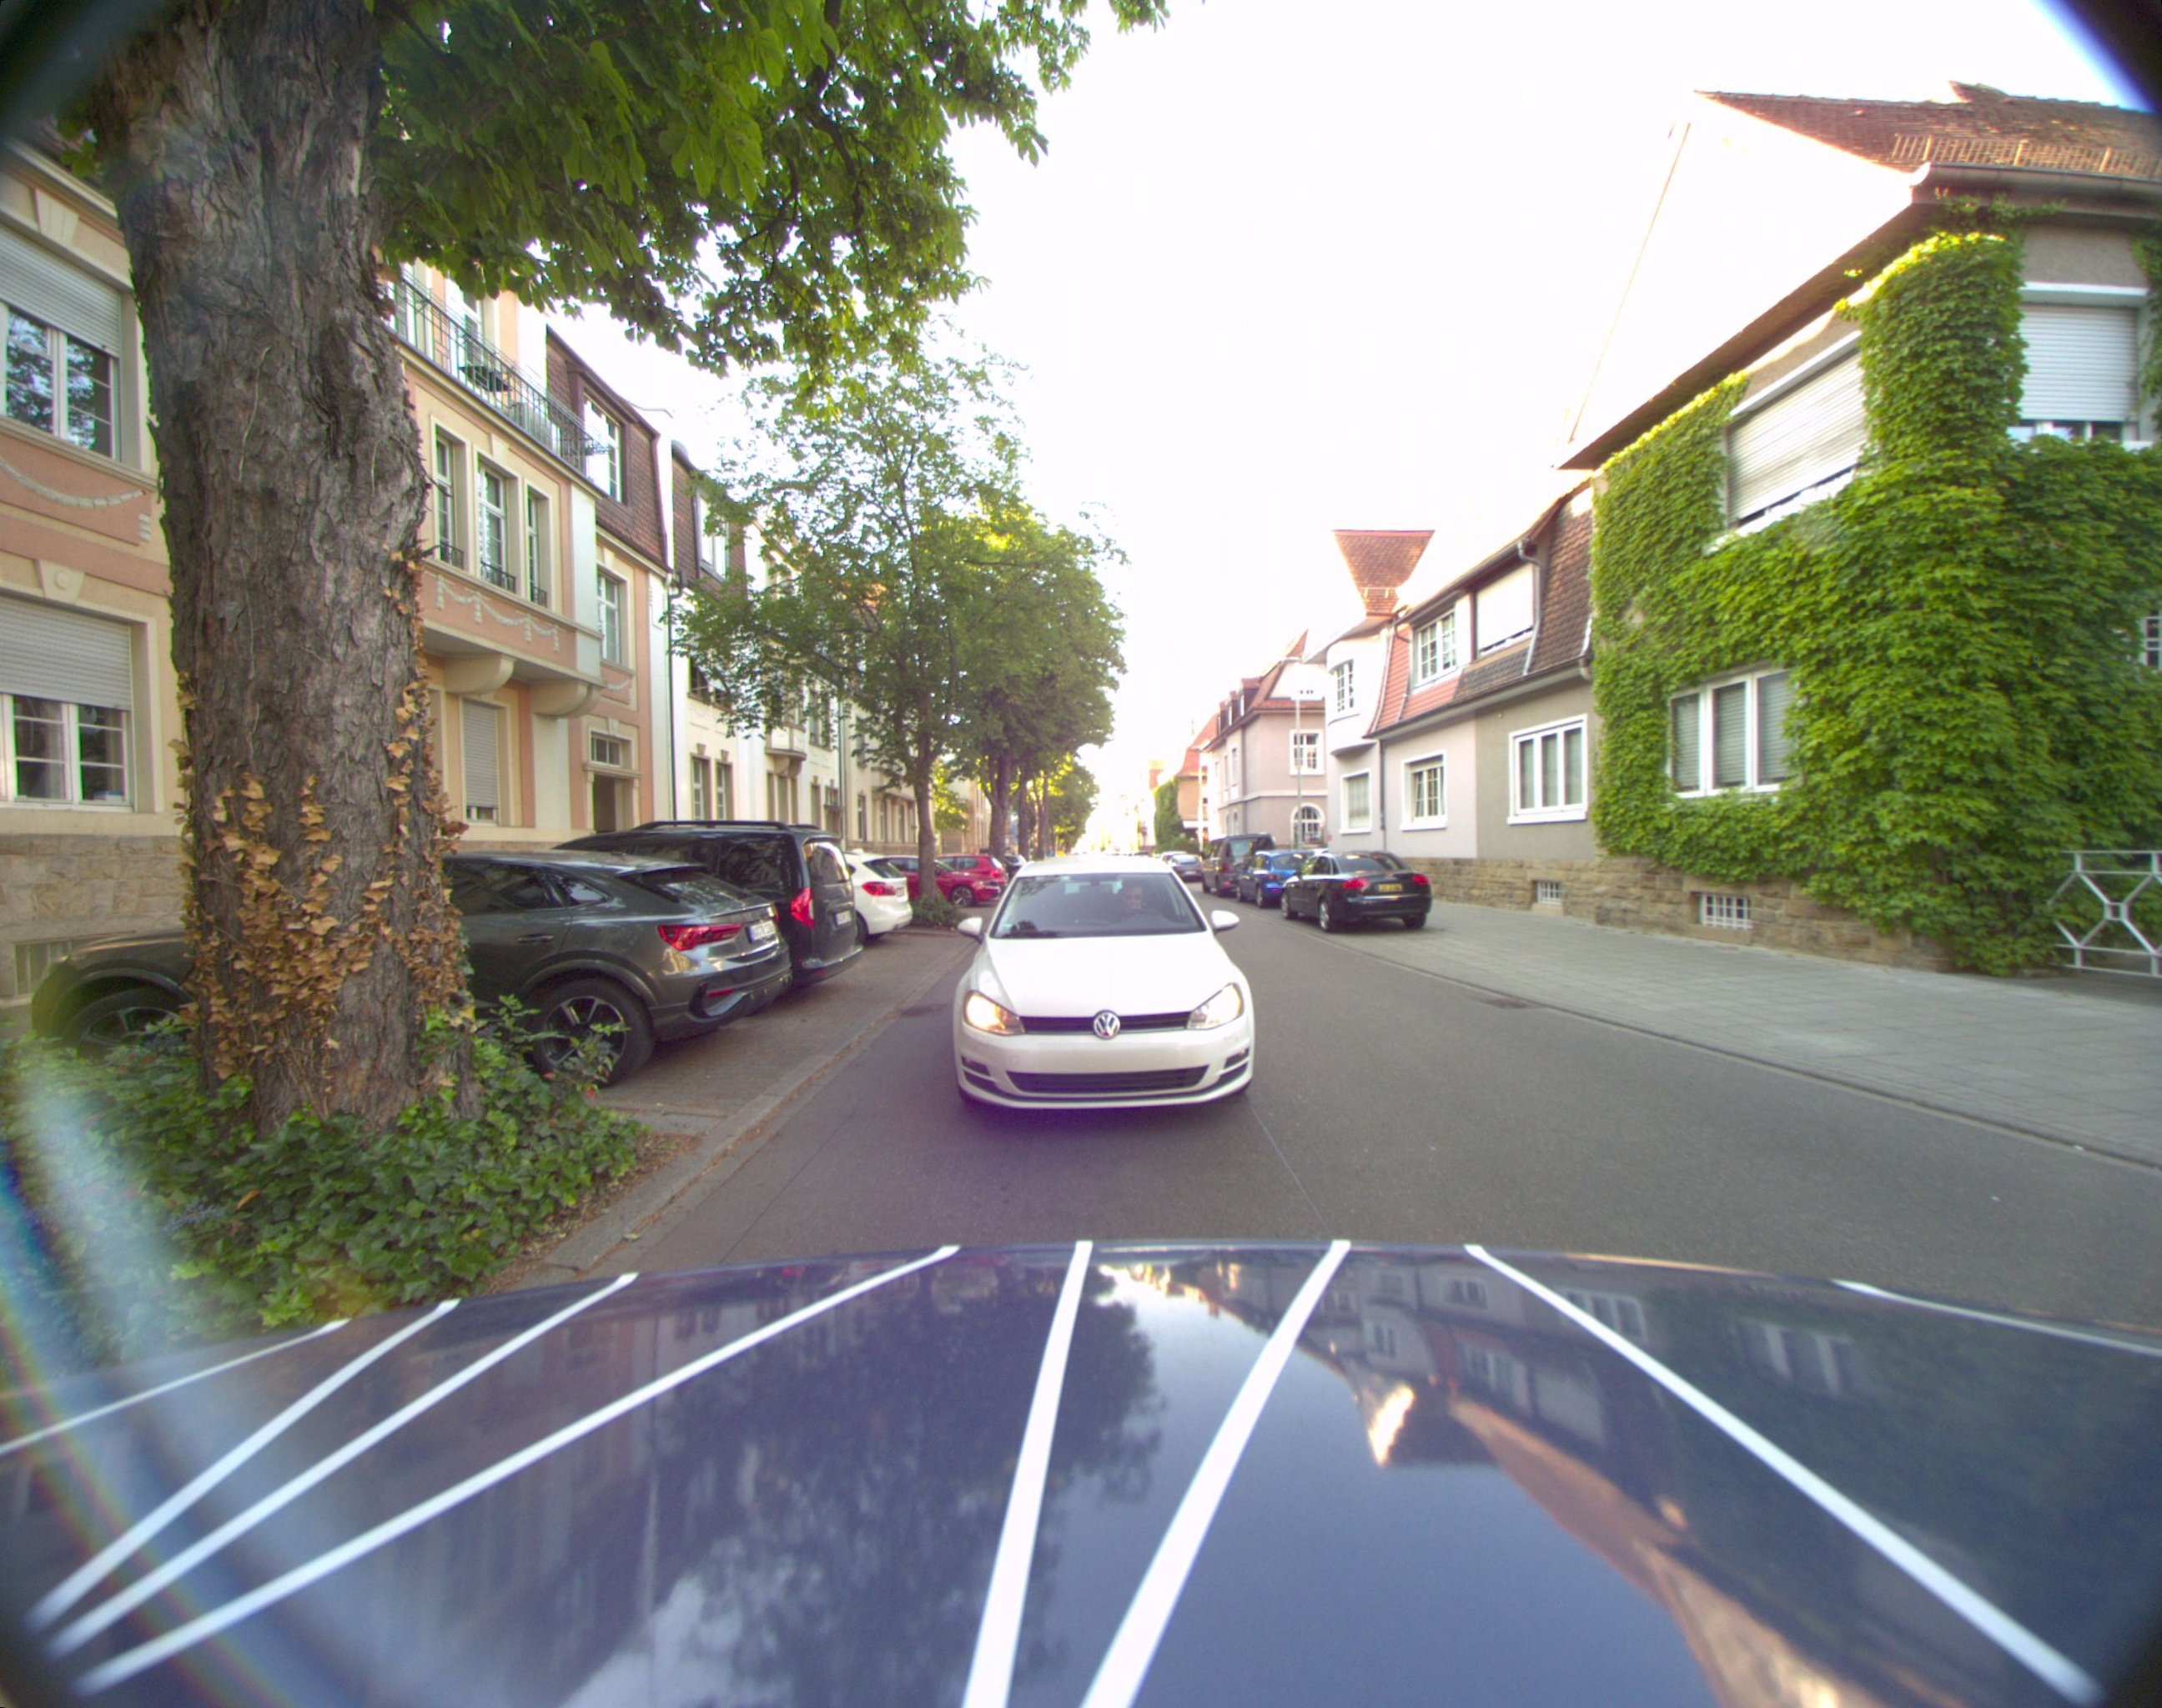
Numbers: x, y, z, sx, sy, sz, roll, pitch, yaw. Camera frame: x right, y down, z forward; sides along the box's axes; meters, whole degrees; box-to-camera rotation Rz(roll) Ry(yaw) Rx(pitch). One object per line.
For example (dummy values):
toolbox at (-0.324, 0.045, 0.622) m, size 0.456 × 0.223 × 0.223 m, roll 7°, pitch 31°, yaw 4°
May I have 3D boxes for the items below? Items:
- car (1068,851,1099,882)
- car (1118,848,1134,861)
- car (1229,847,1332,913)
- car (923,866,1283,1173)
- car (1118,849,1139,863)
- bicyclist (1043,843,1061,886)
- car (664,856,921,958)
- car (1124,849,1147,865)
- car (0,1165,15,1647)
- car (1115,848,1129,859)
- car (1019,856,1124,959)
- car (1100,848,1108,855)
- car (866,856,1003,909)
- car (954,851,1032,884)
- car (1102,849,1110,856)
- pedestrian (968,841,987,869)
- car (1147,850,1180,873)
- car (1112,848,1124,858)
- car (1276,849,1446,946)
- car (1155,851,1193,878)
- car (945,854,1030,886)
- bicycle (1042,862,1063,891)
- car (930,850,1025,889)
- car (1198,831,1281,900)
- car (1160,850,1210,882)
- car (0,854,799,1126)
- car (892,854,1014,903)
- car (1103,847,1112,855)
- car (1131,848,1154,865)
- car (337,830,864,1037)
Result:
car at (0.155, 0.639, 40.499) m, size 1.560 × 1.546 × 3.738 m, roll 1°, pitch 0°, yaw 1°
car at (5.363, 0.020, 91.299) m, size 1.643 × 1.461 × 3.689 m, roll -3°, pitch 0°, yaw -1°
car at (5.227, 0.617, 20.429) m, size 1.611 × 1.455 × 4.023 m, roll -4°, pitch 1°, yaw 0°
car at (0.077, 0.880, 5.913) m, size 1.799 × 1.420 × 4.023 m, roll -2°, pitch 0°, yaw -1°
car at (5.066, 0.208, 80.904) m, size 1.643 × 1.461 × 3.688 m, roll -3°, pitch 0°, yaw -4°
bicyclist at (-1.207, 0.427, 32.130) m, size 0.648 × 1.765 × 0.830 m, roll -2°, pitch 1°, yaw 1°
car at (-4.562, 0.823, 12.395) m, size 3.623 × 1.541 × 1.537 m, roll 1°, pitch 1°, yaw -4°
car at (5.402, 0.260, 75.505) m, size 1.643 × 1.461 × 3.688 m, roll -3°, pitch 0°, yaw -4°
car at (-4.663, 0.789, 0.523) m, size 4.835 × 1.814 × 1.880 m, roll 1°, pitch 1°, yaw -4°
car at (5.456, -0.083, 101.263) m, size 1.643 × 1.461 × 3.689 m, roll -3°, pitch 0°, yaw 0°
car at (-0.116, 0.830, 13.741) m, size 1.600 × 1.546 × 4.000 m, roll 1°, pitch 0°, yaw 1°
car at (5.149, -0.484, 173.347) m, size 1.643 × 1.461 × 3.689 m, roll -3°, pitch 0°, yaw 0°
car at (-4.143, 0.794, 21.797) m, size 3.622 × 1.395 × 1.537 m, roll 1°, pitch 1°, yaw 0°
car at (-4.234, 0.637, 36.888) m, size 3.622 × 1.555 × 1.537 m, roll 0°, pitch 1°, yaw 0°
car at (5.237, -0.372, 158.551) m, size 1.643 × 1.461 × 3.689 m, roll -3°, pitch 0°, yaw 0°
pedestrian at (-7.316, 0.071, 53.829) m, size 1.189 × 2.002 × 0.931 m, roll 1°, pitch 1°, yaw 0°
car at (5.445, 0.461, 50.624) m, size 1.719 × 1.363 × 3.945 m, roll -3°, pitch 0°, yaw 0°
car at (5.677, -0.186, 115.893) m, size 1.643 × 1.461 × 3.689 m, roll -3°, pitch 0°, yaw 0°
car at (5.103, 0.710, 14.457) m, size 1.751 × 1.421 × 4.023 m, roll -4°, pitch 1°, yaw 1°
car at (5.113, 0.540, 42.183) m, size 1.541 × 1.363 × 3.945 m, roll -3°, pitch 0°, yaw 0°
car at (-4.140, 0.718, 34.110) m, size 3.622 × 1.395 × 1.537 m, roll 0°, pitch 1°, yaw 0°
bicycle at (-1.200, 0.914, 31.901) m, size 0.744 × 1.111 × 2.013 m, roll -2°, pitch 0°, yaw 1°
car at (-4.171, 0.601, 30.951) m, size 3.622 × 1.555 × 1.537 m, roll 0°, pitch 1°, yaw 0°
car at (5.153, 0.311, 25.234) m, size 1.719 × 1.961 × 4.310 m, roll -4°, pitch 1°, yaw 0°
car at (4.982, 0.554, 36.822) m, size 1.719 × 1.363 × 4.334 m, roll -3°, pitch 0°, yaw 0°
car at (-4.389, 0.826, 5.419) m, size 4.173 × 1.583 × 1.594 m, roll 1°, pitch 1°, yaw -4°
car at (-4.043, 0.760, 24.347) m, size 3.622 × 1.456 × 1.537 m, roll 1°, pitch 1°, yaw 0°
car at (5.233, -0.539, 149.116) m, size 1.643 × 1.461 × 3.689 m, roll -3°, pitch 0°, yaw 0°
car at (5.492, 0.195, 68.259) m, size 1.643 × 1.461 × 3.945 m, roll -3°, pitch 0°, yaw 0°
car at (-4.476, 0.706, 7.600) m, size 4.173 × 1.816 × 1.594 m, roll 1°, pitch 1°, yaw -4°
